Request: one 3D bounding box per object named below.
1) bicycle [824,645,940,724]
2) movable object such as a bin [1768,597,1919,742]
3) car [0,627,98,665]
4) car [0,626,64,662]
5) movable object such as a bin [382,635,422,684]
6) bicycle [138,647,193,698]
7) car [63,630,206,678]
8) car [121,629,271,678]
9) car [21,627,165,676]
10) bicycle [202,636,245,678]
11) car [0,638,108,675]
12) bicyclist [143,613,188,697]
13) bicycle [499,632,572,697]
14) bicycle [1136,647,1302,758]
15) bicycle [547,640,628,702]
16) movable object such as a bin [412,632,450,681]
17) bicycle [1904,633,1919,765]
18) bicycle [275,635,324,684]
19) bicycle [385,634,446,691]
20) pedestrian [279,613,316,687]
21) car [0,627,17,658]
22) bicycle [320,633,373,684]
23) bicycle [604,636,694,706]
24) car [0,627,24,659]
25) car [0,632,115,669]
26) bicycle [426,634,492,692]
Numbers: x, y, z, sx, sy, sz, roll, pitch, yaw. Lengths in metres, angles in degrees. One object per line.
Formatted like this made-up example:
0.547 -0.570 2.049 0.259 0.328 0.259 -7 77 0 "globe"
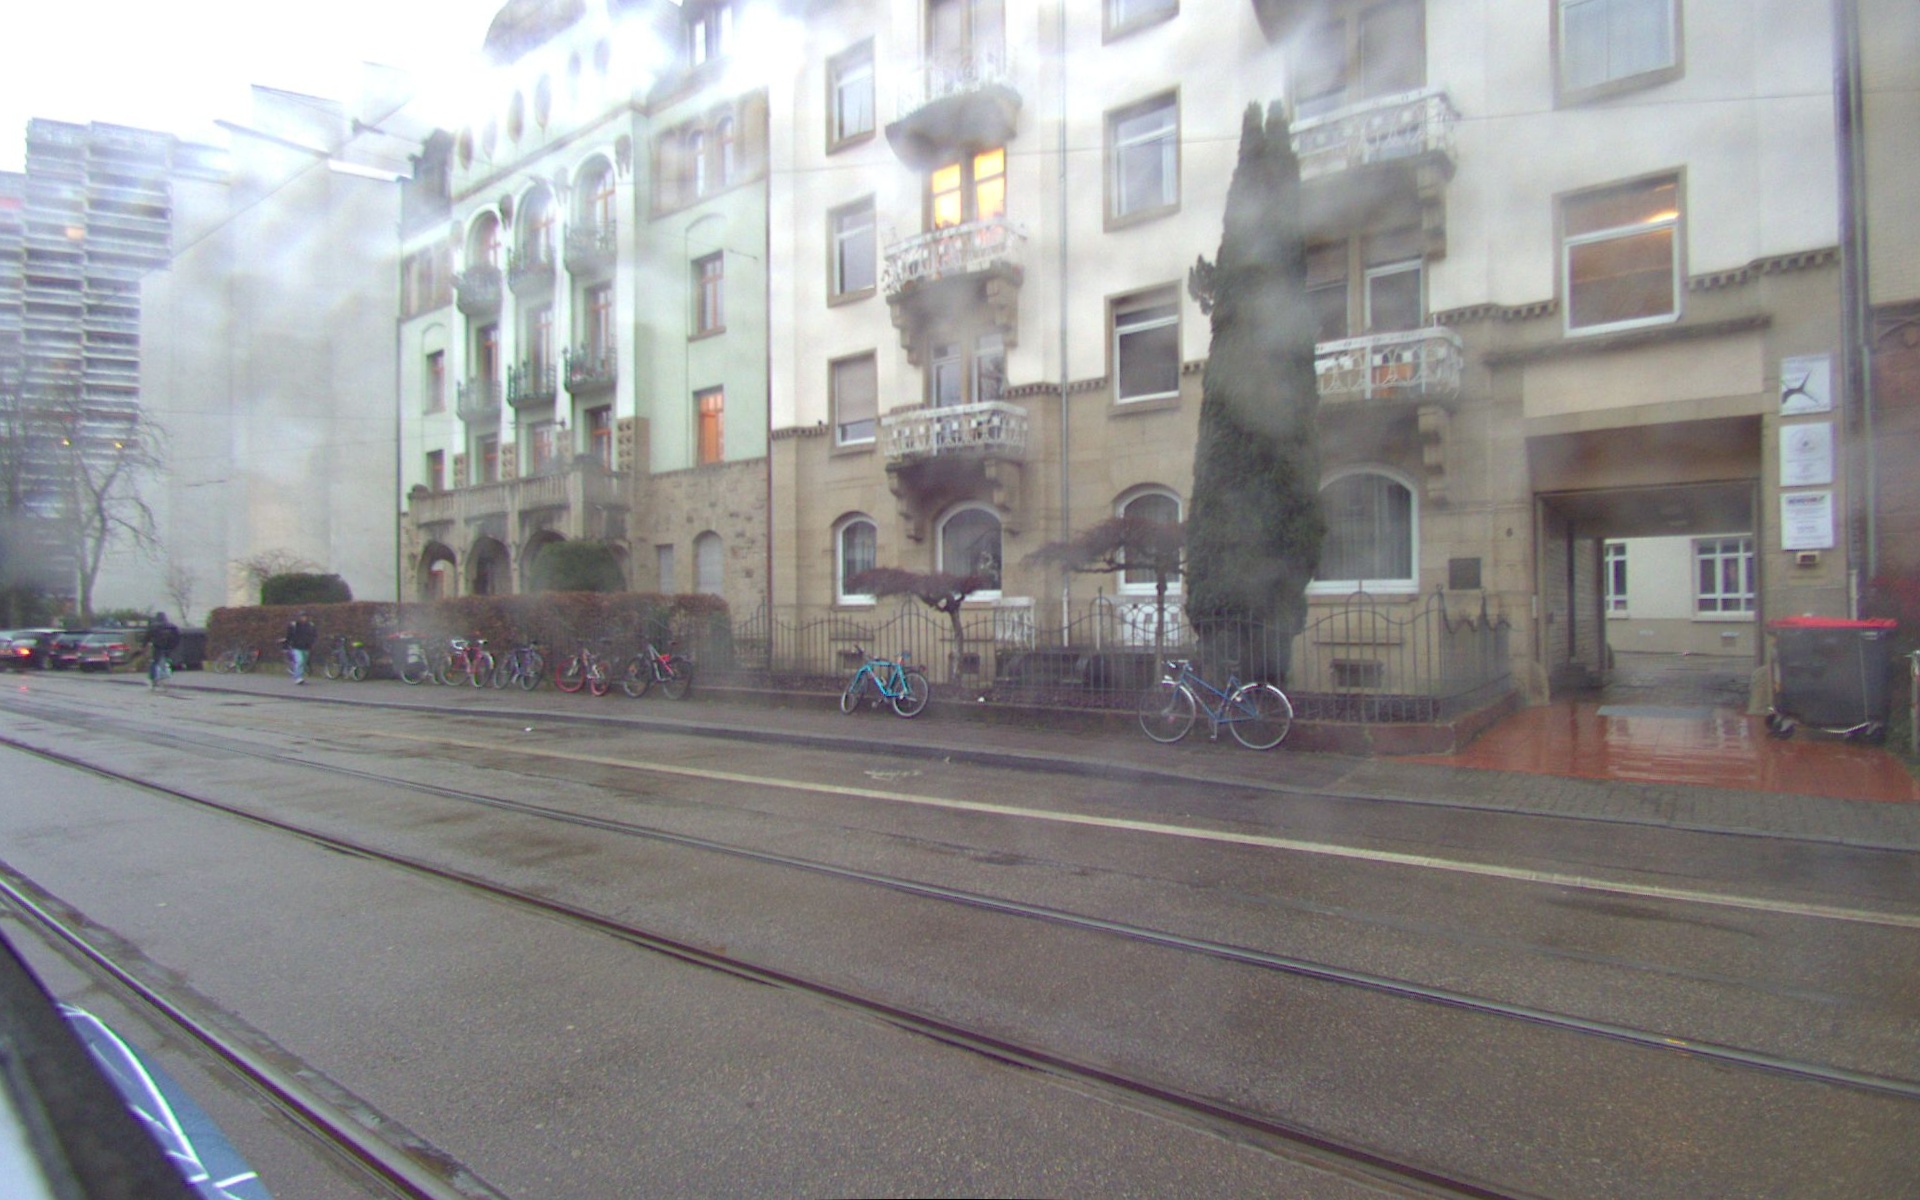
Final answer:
-1.109 1.152 14.172 1.661 1.010 0.617 -2 -2 40 "bicycle"
9.383 0.701 10.785 1.166 1.390 1.092 -2 1 39 "movable object such as a bin"
-42.146 2.067 46.391 1.843 1.608 3.999 -1 -1 0 "car"
-44.634 2.074 47.380 1.843 1.608 3.999 -1 -1 0 "car"
-13.577 1.435 24.636 0.674 1.173 0.651 -2 -2 40 "movable object such as a bin"
-18.416 1.650 23.446 1.946 1.101 0.617 -2 -2 40 "bicycle"
-28.684 1.840 35.326 1.740 1.497 3.999 -1 -1 0 "car"
-26.061 1.800 34.708 1.847 1.505 3.989 -1 -1 8 "car"
-31.304 1.825 36.713 1.843 1.608 3.999 -1 -1 0 "car"
-21.427 1.650 29.444 1.661 1.173 0.617 -2 -1 40 "bicycle"
-33.218 2.013 36.629 1.687 1.262 3.666 0 -2 -1 "car"
-18.370 1.254 23.402 0.990 1.891 0.617 -2 -2 40 "bicyclist"
-8.302 1.235 19.756 1.661 1.221 0.617 -2 -2 40 "bicycle"
2.822 1.087 11.136 1.661 1.101 0.617 -2 -2 40 "bicycle"
-6.893 1.285 18.690 1.725 1.073 0.617 -2 -2 40 "bicycle"
-13.153 1.395 25.161 0.674 1.173 0.617 -2 -2 40 "movable object such as a bin"
8.678 0.903 8.641 0.694 1.114 2.326 -2 1 38 "bicycle"
-17.228 1.531 26.378 1.661 1.221 0.617 -2 -2 40 "bicycle"
-12.174 1.371 22.616 1.661 1.221 0.617 -2 -2 40 "bicycle"
-15.821 1.177 24.151 0.644 1.738 0.567 0 1 41 "pedestrian"
-52.247 2.269 53.117 1.843 1.608 3.999 -1 -1 0 "car"
-15.180 1.432 25.028 1.661 1.221 0.617 -2 -2 40 "bicycle"
-5.374 1.200 17.445 1.781 1.134 0.617 -2 -2 40 "bicycle"
-49.974 2.225 51.050 1.843 1.608 3.999 -1 -1 0 "car"
-39.151 2.147 43.783 1.843 1.460 3.999 -1 -1 0 "car"
-10.555 1.303 21.303 1.661 1.173 0.617 -2 -2 40 "bicycle"
